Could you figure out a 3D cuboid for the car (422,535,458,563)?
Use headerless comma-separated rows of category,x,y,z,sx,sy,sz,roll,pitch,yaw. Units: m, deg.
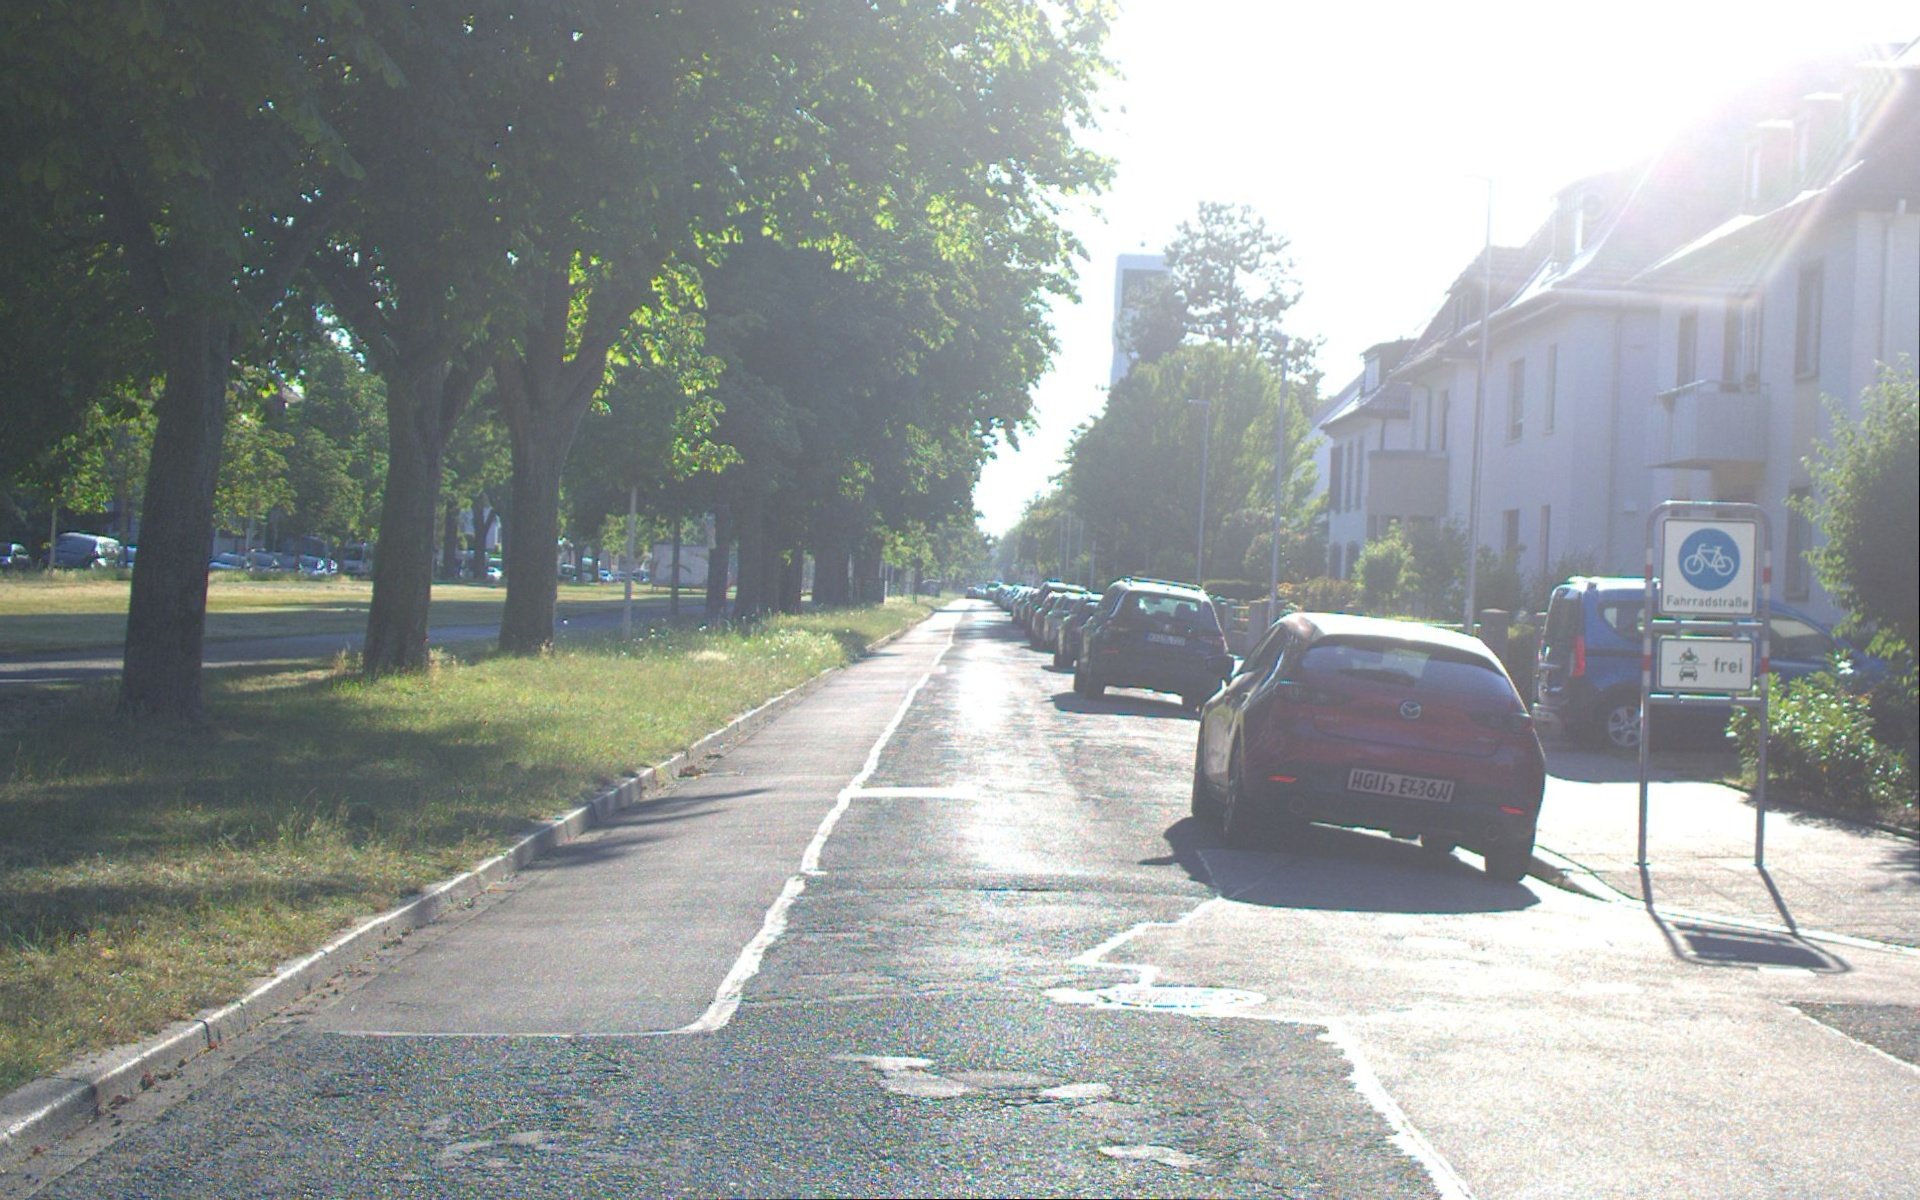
car,-39.213,-3.838,259.239,1.993,2.007,4.000,3,0,0

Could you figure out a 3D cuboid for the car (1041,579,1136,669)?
car,3.160,0.609,85.322,1.993,2.007,4.000,5,-1,-1

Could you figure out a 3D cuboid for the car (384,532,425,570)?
car,-32.167,-2.836,199.102,1.654,1.932,3.567,5,-2,0

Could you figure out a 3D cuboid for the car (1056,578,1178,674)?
car,2.941,0.508,65.077,1.993,1.648,4.000,3,-1,-1

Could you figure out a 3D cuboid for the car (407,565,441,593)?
car,-33.581,-1.314,215.440,1.612,1.533,3.355,5,-2,-1

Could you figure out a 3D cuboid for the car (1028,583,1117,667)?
car,2.947,0.670,90.907,1.993,2.007,4.000,5,-1,-1

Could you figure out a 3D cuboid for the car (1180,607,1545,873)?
car,2.418,0.822,21.596,1.709,1.355,4.203,5,-1,0

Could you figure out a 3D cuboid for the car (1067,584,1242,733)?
car,2.625,0.759,47.326,1.993,1.775,4.000,5,0,-1

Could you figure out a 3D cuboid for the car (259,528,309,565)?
car,-40.373,-3.188,205.441,1.993,1.907,4.000,5,-1,0

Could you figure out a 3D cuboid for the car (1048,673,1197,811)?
car,2.459,2.151,53.034,1.882,1.853,4.000,5,-1,-1

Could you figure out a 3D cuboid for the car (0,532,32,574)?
car,-39.787,-2.002,141.611,1.993,1.612,4.000,5,-1,-1

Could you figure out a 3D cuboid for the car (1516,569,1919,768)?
car,8.107,0.752,36.607,3.986,1.816,1.760,3,-6,-4

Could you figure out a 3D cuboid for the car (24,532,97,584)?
car,-34.508,-1.585,132.005,1.728,1.684,3.879,5,-2,-1

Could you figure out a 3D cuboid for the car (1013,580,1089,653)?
car,2.756,0.515,105.089,1.993,2.007,4.000,5,-1,-1
